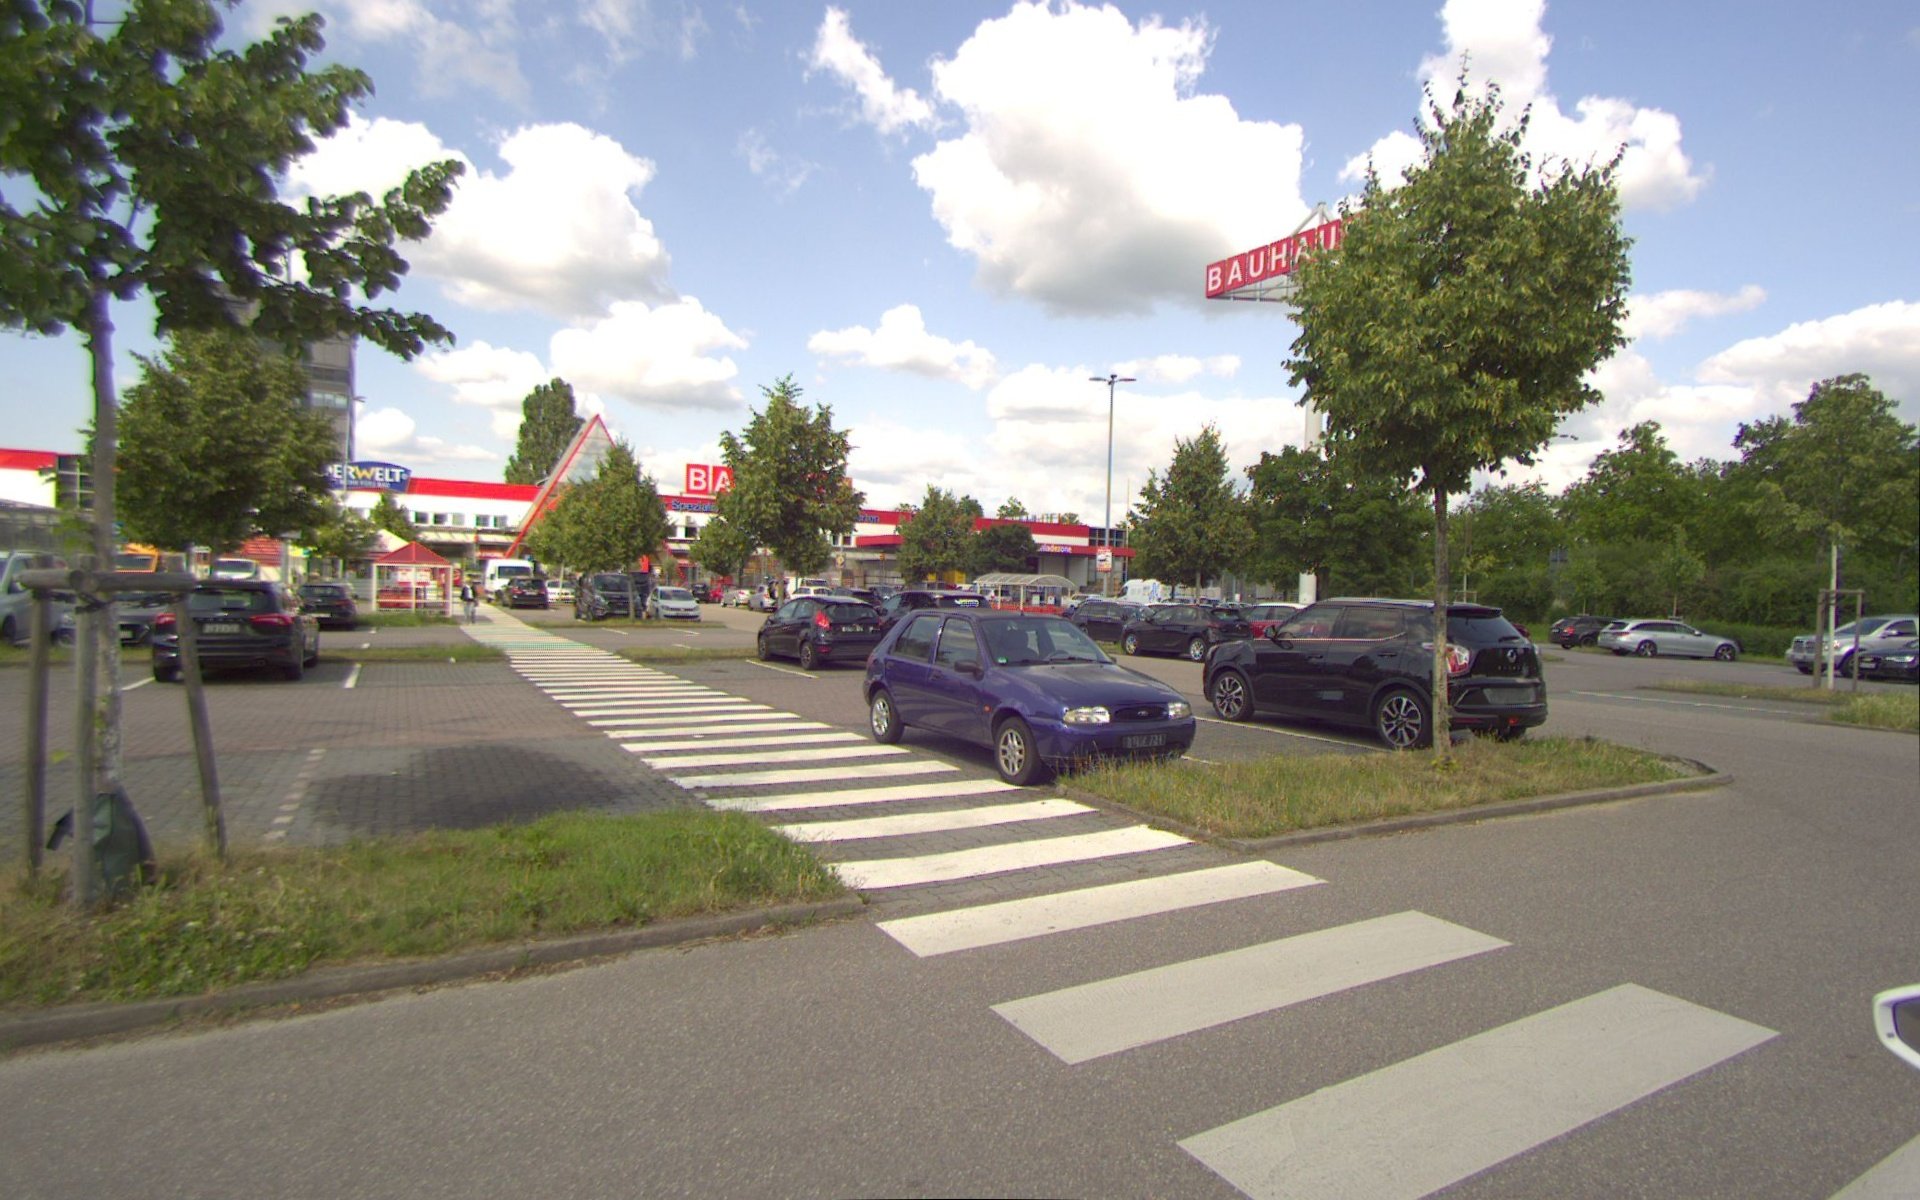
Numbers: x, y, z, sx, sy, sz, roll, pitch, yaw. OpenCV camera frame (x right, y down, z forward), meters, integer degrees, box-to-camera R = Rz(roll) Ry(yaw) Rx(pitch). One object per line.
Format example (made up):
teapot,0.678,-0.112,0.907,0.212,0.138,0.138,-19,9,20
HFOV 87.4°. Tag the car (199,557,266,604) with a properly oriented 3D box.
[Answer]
car,-35.289,-0.926,48.838,1.977,2.040,4.769,5,-2,-30

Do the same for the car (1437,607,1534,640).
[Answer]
car,29.028,1.279,55.581,4.234,1.617,2.000,2,1,3

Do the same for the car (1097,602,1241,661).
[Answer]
car,5.530,0.805,27.063,1.708,1.387,3.855,1,1,-28

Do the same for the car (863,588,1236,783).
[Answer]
car,0.601,0.618,9.319,1.602,1.386,3.733,1,0,-29

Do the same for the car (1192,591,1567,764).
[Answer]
car,4.746,0.759,11.970,1.714,1.646,3.935,1,1,-27

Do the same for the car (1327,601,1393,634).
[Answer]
car,27.389,1.190,68.780,4.004,2.045,1.934,3,-1,-26

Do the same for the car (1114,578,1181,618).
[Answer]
car,13.110,-0.157,70.483,2.029,2.543,4.691,3,1,-29

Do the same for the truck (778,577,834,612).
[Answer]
truck,-10.044,-0.376,65.218,1.838,2.040,5.369,5,-2,-28

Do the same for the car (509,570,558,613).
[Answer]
car,-21.343,-0.446,50.192,1.975,2.040,3.971,1,1,-27

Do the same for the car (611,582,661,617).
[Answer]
car,-16.687,-0.036,51.684,1.680,1.635,2.631,5,-2,-34

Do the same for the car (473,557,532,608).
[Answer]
car,-25.562,-0.978,56.031,2.216,2.671,4.287,2,0,-34

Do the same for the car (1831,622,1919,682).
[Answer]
car,26.573,1.432,26.926,4.629,1.470,1.840,2,1,6

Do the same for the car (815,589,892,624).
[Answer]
car,-5.025,0.295,46.965,1.977,1.487,4.380,1,0,-30

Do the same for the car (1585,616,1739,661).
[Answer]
car,26.959,1.472,38.710,4.560,1.524,1.785,2,1,4

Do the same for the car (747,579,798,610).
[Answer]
car,-10.366,-0.318,55.413,1.709,1.528,3.209,5,-2,-31

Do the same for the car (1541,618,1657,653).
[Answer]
car,27.753,1.537,43.721,3.920,1.399,1.700,2,-1,3

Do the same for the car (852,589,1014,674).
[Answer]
car,-0.692,0.620,22.049,1.763,1.646,4.049,1,1,-31

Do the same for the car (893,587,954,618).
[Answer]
car,-2.231,0.131,61.028,1.978,1.802,3.964,1,1,-32

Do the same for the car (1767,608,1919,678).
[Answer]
car,27.012,1.259,29.366,5.044,1.867,1.991,2,1,3

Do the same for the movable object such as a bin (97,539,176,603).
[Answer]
movable object such as a bin,-35.052,-1.224,42.873,2.109,2.527,5.285,1,1,-34

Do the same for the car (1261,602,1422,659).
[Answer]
car,10.744,0.820,28.586,1.747,1.417,4.053,1,1,-31

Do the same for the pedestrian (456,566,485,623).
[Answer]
pedestrian,-17.632,-0.194,36.167,0.808,2.040,0.907,1,1,-31

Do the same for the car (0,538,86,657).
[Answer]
car,-18.563,-0.114,19.027,1.976,2.040,5.146,1,1,-29

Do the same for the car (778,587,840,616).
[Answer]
car,-8.664,0.058,57.412,1.979,1.529,3.963,1,1,-33

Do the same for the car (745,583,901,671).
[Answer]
car,-2.972,0.514,21.211,1.766,1.646,3.670,1,1,-35

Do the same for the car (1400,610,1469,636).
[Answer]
car,29.900,1.457,63.366,3.571,1.487,1.635,2,-1,4

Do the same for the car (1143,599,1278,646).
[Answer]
car,8.262,0.718,33.485,1.873,1.371,4.243,1,0,-32

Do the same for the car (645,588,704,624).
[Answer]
car,-12.044,0.213,42.272,1.721,1.405,3.536,1,1,-27

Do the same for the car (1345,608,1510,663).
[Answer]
car,14.522,1.065,31.455,1.751,1.452,4.506,1,1,-29

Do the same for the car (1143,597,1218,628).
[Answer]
car,12.317,0.682,56.347,1.889,1.617,3.966,1,1,-31

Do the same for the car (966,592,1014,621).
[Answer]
car,1.865,0.406,63.725,1.584,1.767,3.140,0,1,-31

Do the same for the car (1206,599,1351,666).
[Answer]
car,8.475,0.832,26.947,1.691,1.602,3.417,1,1,-32

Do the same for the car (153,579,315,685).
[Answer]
car,-10.977,0.419,15.395,1.792,1.423,3.325,1,1,-33
